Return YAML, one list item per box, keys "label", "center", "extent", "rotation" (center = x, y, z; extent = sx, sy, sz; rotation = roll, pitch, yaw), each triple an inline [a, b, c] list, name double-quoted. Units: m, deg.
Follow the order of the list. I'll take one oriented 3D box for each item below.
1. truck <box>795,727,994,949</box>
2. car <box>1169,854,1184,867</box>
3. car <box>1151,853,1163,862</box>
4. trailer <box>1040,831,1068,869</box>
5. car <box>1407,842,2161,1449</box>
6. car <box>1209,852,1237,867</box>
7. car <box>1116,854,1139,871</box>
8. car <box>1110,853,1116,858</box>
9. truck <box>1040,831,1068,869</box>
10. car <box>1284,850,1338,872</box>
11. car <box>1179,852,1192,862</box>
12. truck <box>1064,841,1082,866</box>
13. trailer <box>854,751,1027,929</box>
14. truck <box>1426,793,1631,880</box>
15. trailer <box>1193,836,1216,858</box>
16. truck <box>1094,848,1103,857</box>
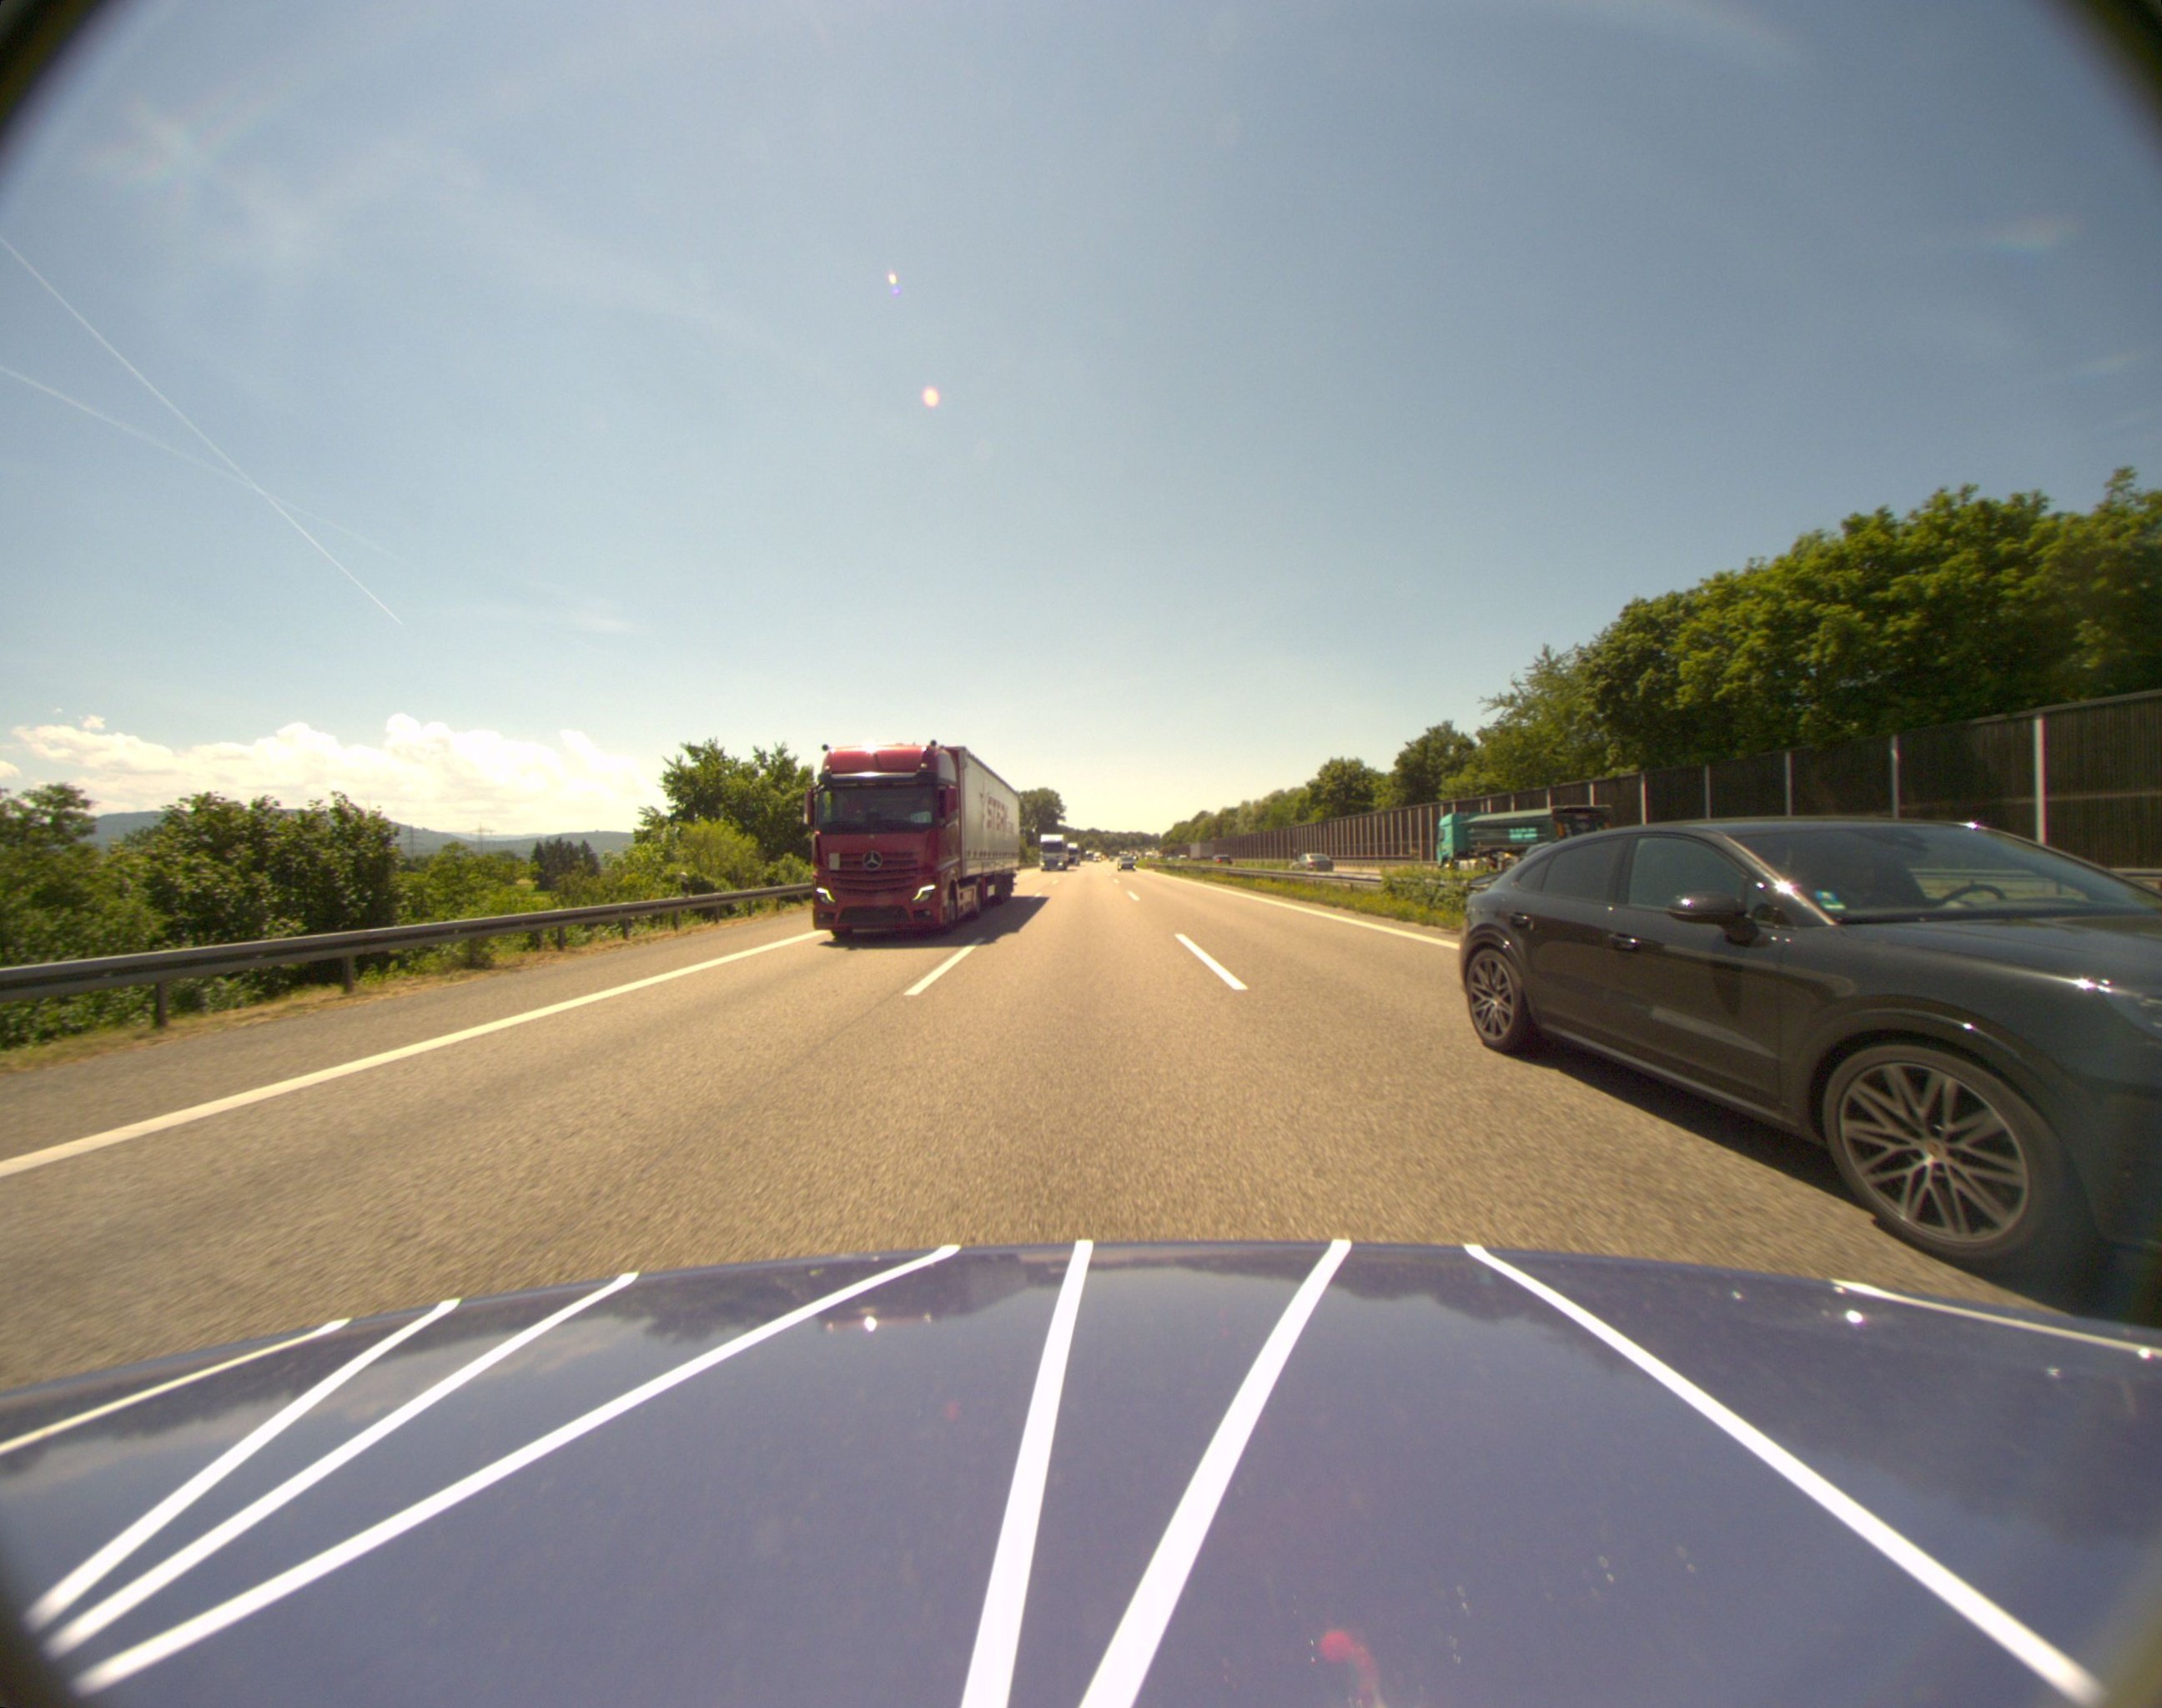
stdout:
- label: "truck"
  center: [-3.865, -0.304, 17.633]
  extent: [2.714, 4.064, 6.964]
  rotation: [-1, 0, 1]
- label: "car"
  center: [15.681, 1.038, 124.891]
  extent: [1.998, 1.936, 4.000]
  rotation: [-4, 0, 1]
- label: "car"
  center: [15.159, 0.638, 151.307]
  extent: [1.998, 1.710, 4.532]
  rotation: [-1, 0, 1]
- label: "trailer"
  center: [-3.231, -0.448, 90.095]
  extent: [2.967, 4.082, 12.529]
  rotation: [-1, 0, -2]
- label: "car"
  center: [3.973, 0.785, 3.996]
  extent: [2.049, 1.615, 5.771]
  rotation: [-2, 0, 1]
- label: "car"
  center: [14.230, 0.501, 76.382]
  extent: [1.962, 1.438, 4.458]
  rotation: [-1, 0, 1]
- label: "car"
  center: [4.803, 0.877, 78.793]
  extent: [1.910, 1.717, 4.374]
  rotation: [-1, 0, -3]
- label: "car"
  center: [10.946, 0.619, 262.353]
  extent: [1.909, 1.717, 4.376]
  rotation: [-1, 0, 3]
- label: "truck"
  center: [-3.031, -0.449, 84.521]
  extent: [2.967, 4.082, 6.205]
  rotation: [-1, 0, -3]
- label: "car"
  center: [15.952, 0.474, 53.046]
  extent: [1.870, 1.433, 5.083]
  rotation: [-1, 0, -5]
- label: "car"
  center: [20.041, 0.572, 146.151]
  extent: [1.998, 1.710, 4.532]
  rotation: [-1, 0, 1]
- label: "truck"
  center: [-1.436, -0.129, 137.196]
  extent: [2.541, 4.446, 5.574]
  rotation: [-1, 0, 5]
- label: "trailer"
  center: [-3.752, -0.340, 24.668]
  extent: [2.714, 4.064, 14.151]
  rotation: [-1, 0, 1]
- label: "truck"
  center: [21.936, -0.757, 38.627]
  extent: [3.098, 3.654, 12.367]
  rotation: [-1, 0, 0]
- label: "trailer"
  center: [23.959, -1.380, 147.845]
  extent: [2.502, 4.063, 14.271]
  rotation: [-1, 0, 1]
- label: "truck"
  center: [5.401, -0.593, 238.376]
  extent: [2.715, 2.712, 12.368]
  rotation: [-1, 0, 2]
